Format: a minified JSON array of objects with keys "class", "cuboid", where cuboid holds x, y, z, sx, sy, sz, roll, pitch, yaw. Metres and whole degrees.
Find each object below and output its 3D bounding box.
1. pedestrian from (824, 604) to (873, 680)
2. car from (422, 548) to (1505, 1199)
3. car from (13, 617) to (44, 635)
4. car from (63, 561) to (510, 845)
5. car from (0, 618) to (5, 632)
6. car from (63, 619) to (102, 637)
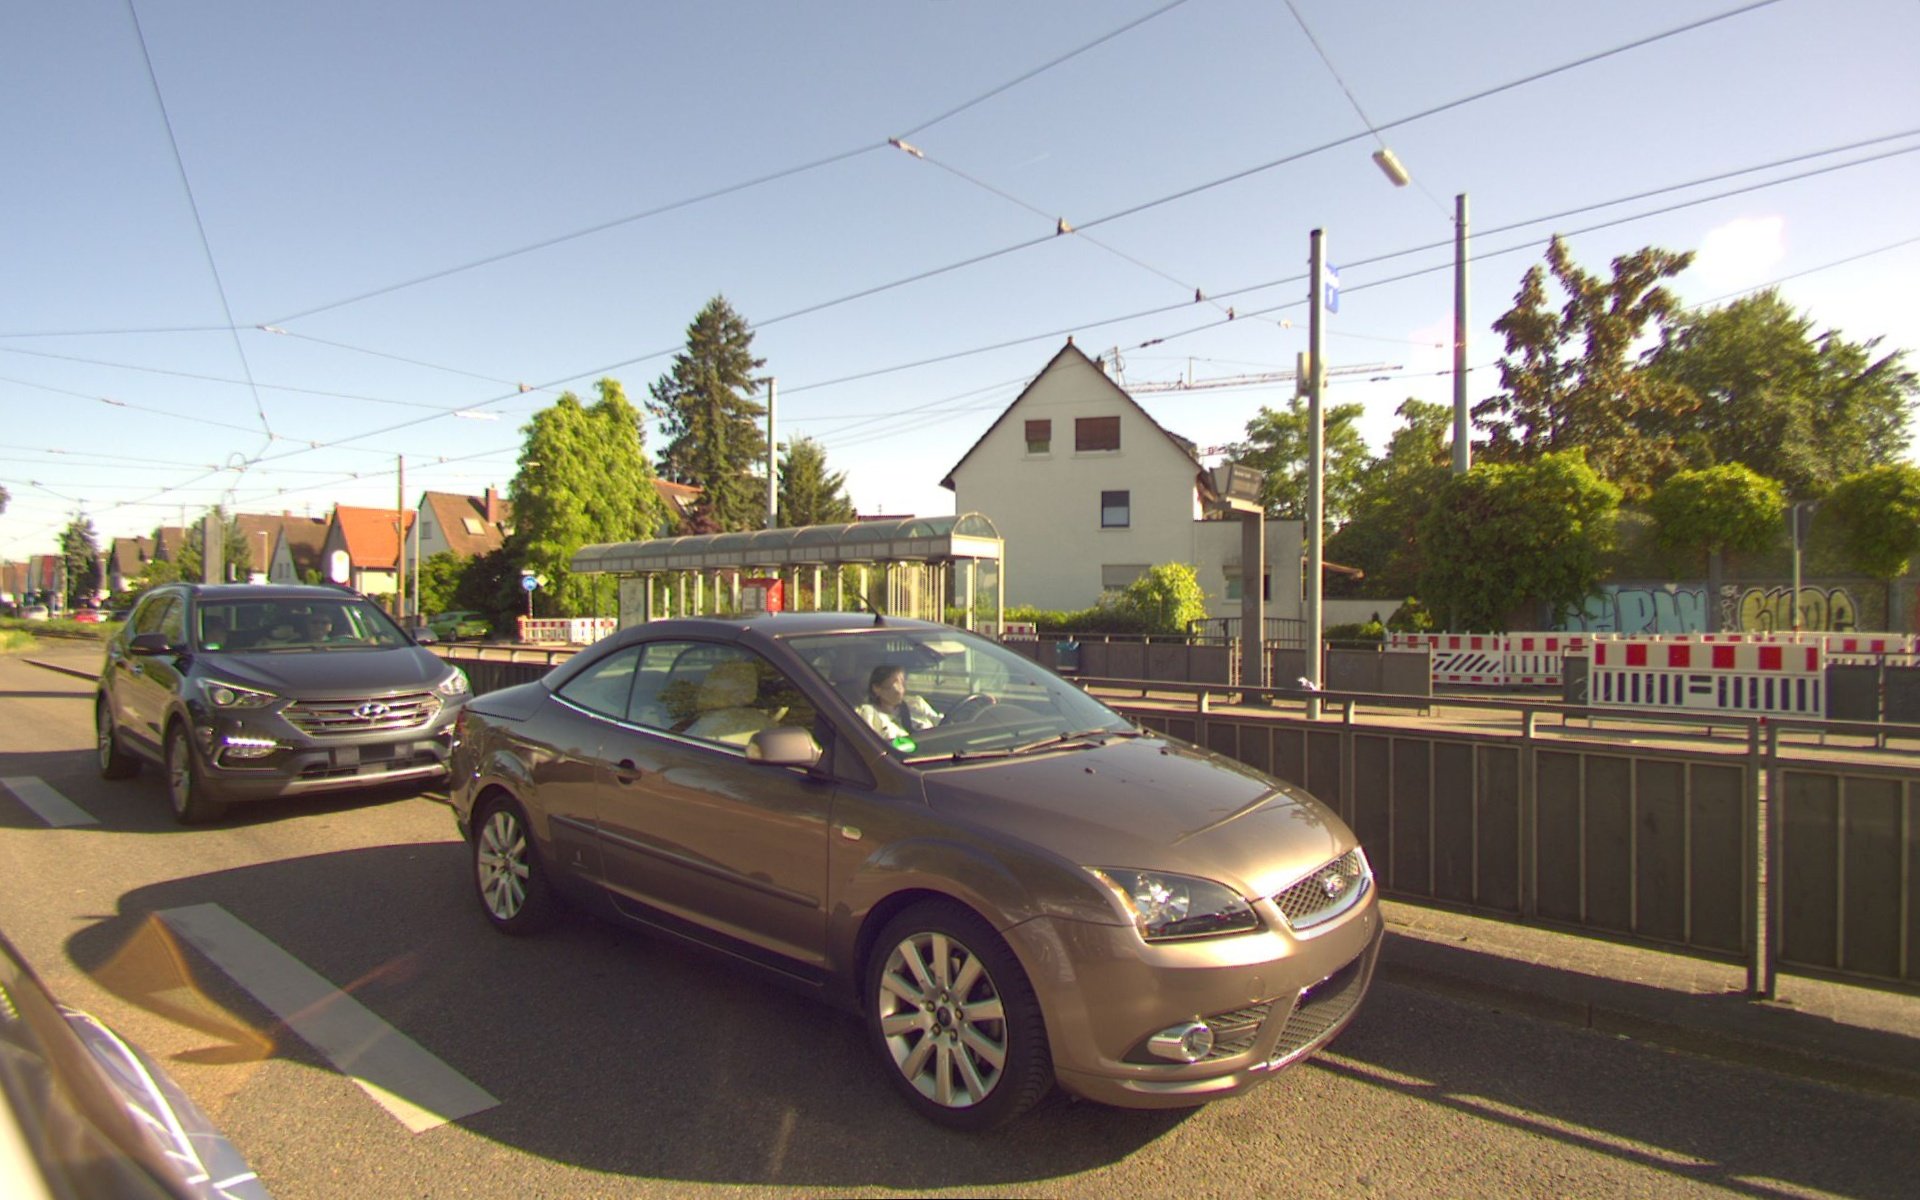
[{"class":"pedestrian","cuboid":[-2.137,0.803,19.437,0.710,1.425,0.616,-1,-2,39]},{"class":"car","cuboid":[-0.314,0.705,4.073,4.189,1.546,1.733,-1,-2,38]},{"class":"car","cuboid":[-94.852,2.648,103.055,3.999,1.785,1.972,-1,-2,42]},{"class":"car","cuboid":[-5.599,0.663,8.201,4.296,1.709,1.862,-1,-2,40]},{"class":"car","cuboid":[-110.730,2.859,115.610,3.998,1.674,1.973,-1,-2,41]},{"class":"car","cuboid":[-72.824,2.330,83.985,3.999,1.475,1.972,-1,-2,42]}]
